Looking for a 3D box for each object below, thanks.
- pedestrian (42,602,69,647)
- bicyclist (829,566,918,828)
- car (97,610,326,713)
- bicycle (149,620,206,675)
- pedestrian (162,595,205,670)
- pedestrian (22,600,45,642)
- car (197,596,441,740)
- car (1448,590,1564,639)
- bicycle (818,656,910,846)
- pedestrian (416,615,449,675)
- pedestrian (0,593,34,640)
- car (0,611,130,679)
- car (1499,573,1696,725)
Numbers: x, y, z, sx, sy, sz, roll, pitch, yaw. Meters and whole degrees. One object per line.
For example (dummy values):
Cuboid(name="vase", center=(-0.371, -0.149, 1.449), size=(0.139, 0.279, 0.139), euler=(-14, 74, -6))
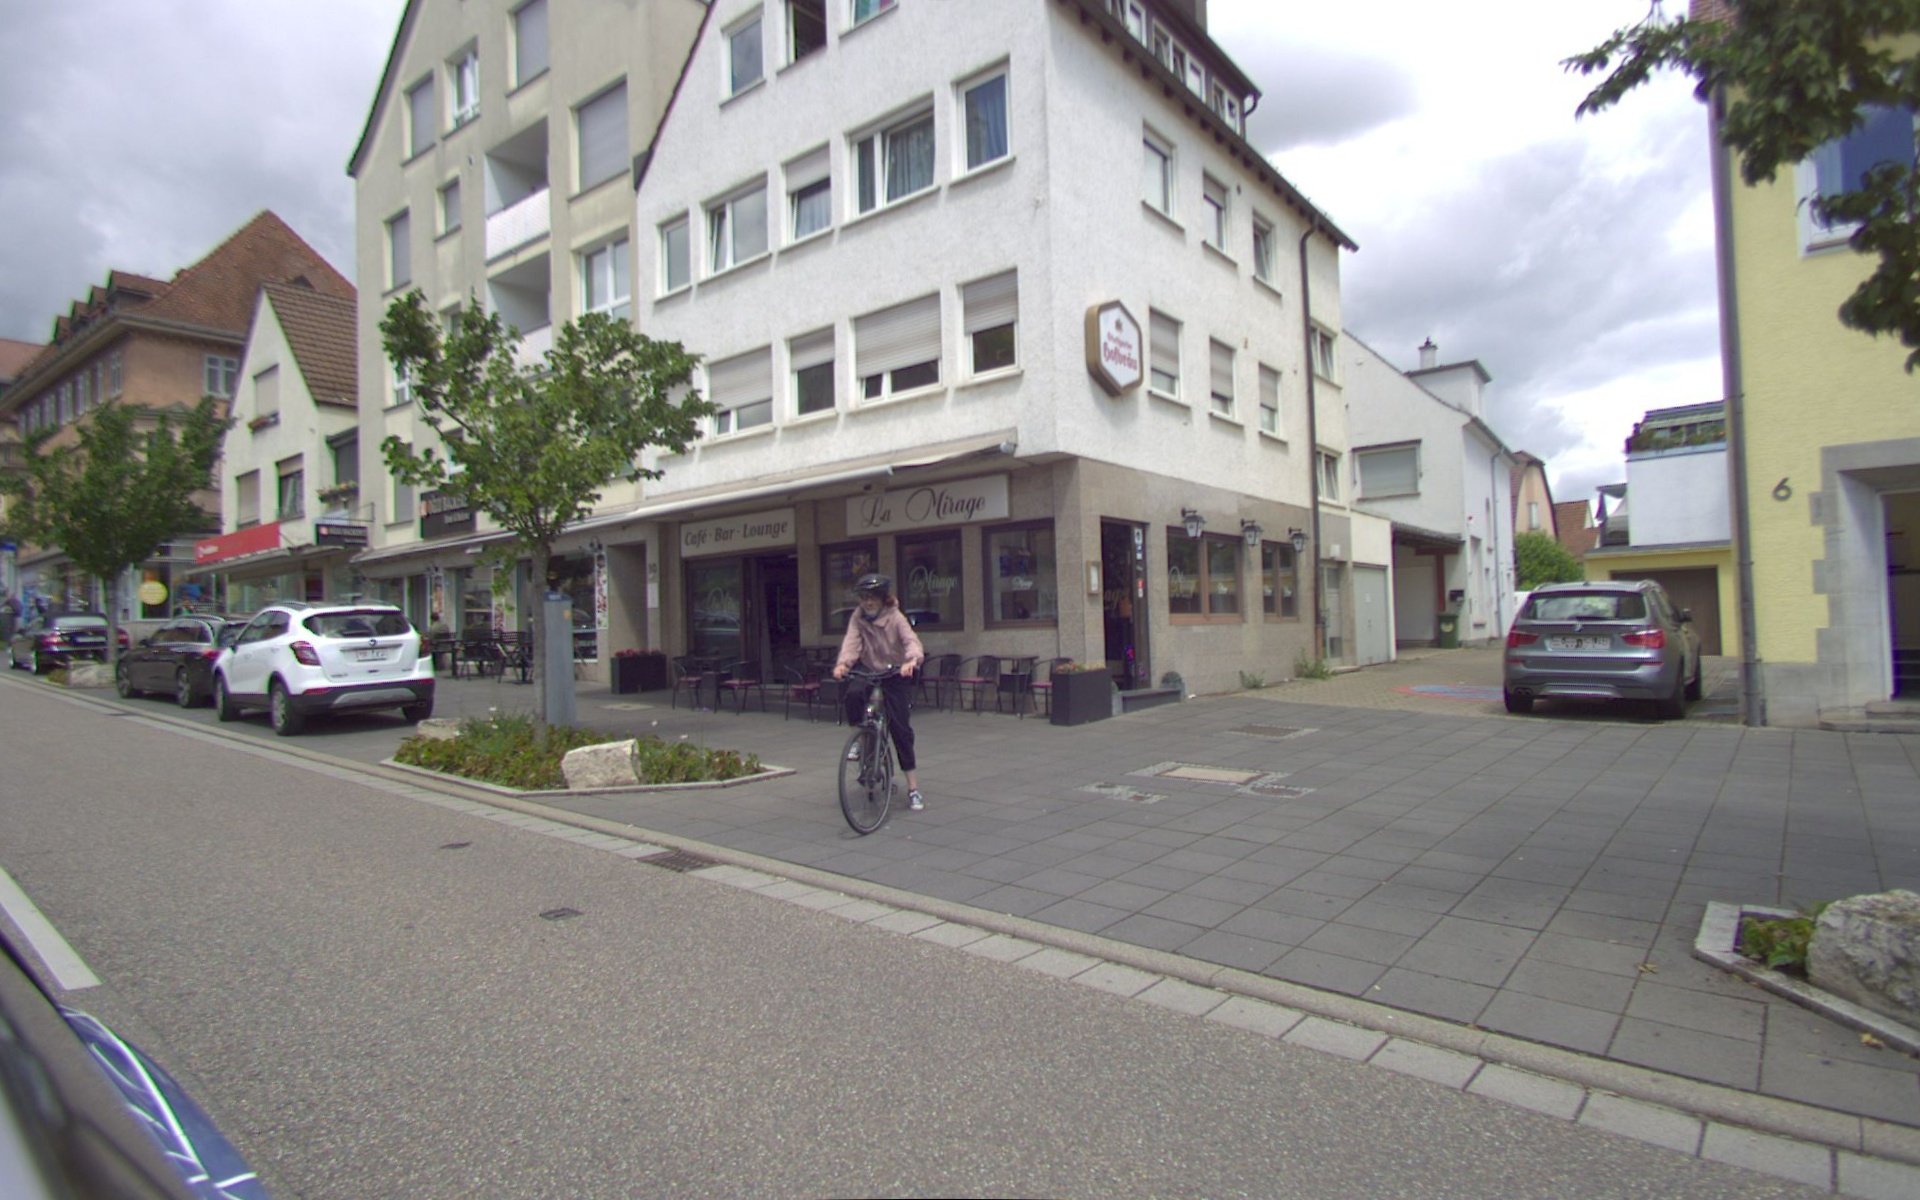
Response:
Cuboid(name="pedestrian", center=(-32.362, 0.858, 36.208), size=(0.641, 1.594, 0.608), euler=(1, 0, 35))
Cuboid(name="bicyclist", center=(-0.580, 0.643, 7.009), size=(0.503, 1.708, 0.777), euler=(0, -2, 3))
Cuboid(name="car", center=(-12.825, 0.945, 17.245), size=(4.505, 1.462, 1.823), euler=(0, 1, 35))
Cuboid(name="bicycle", center=(-16.933, 1.015, 21.881), size=(1.904, 1.115, 0.479), euler=(0, 0, 37))
Cuboid(name="pedestrian", center=(-18.793, 0.780, 24.486), size=(0.777, 1.774, 0.653), euler=(1, 0, 39))
Cuboid(name="pedestrian", center=(-32.771, 0.730, 35.790), size=(0.527, 1.489, 0.491), euler=(1, 0, 35))
Cuboid(name="car", center=(-8.863, 0.818, 13.854), size=(4.130, 1.659, 1.649), euler=(-1, 0, 40))
Cuboid(name="car", center=(21.614, 0.589, 40.167), size=(3.934, 1.820, 1.483), euler=(-2, -1, 29))
Cuboid(name="bicycle", center=(-0.623, 0.958, 6.957), size=(0.408, 1.096, 1.653), euler=(0, -1, 2))
Cuboid(name="pedestrian", center=(-11.247, 0.958, 21.586), size=(0.566, 1.259, 0.423), euler=(-1, -1, 38))
Cuboid(name="pedestrian", center=(-34.440, 0.592, 36.865), size=(0.904, 1.679, 0.863), euler=(1, 0, 35))
Cuboid(name="car", center=(-21.335, 1.008, 24.021), size=(4.438, 1.402, 1.641), euler=(0, 0, 39))
Cuboid(name="car", center=(8.274, 0.551, 13.007), size=(1.730, 1.663, 3.493), euler=(-2, -1, 39))
